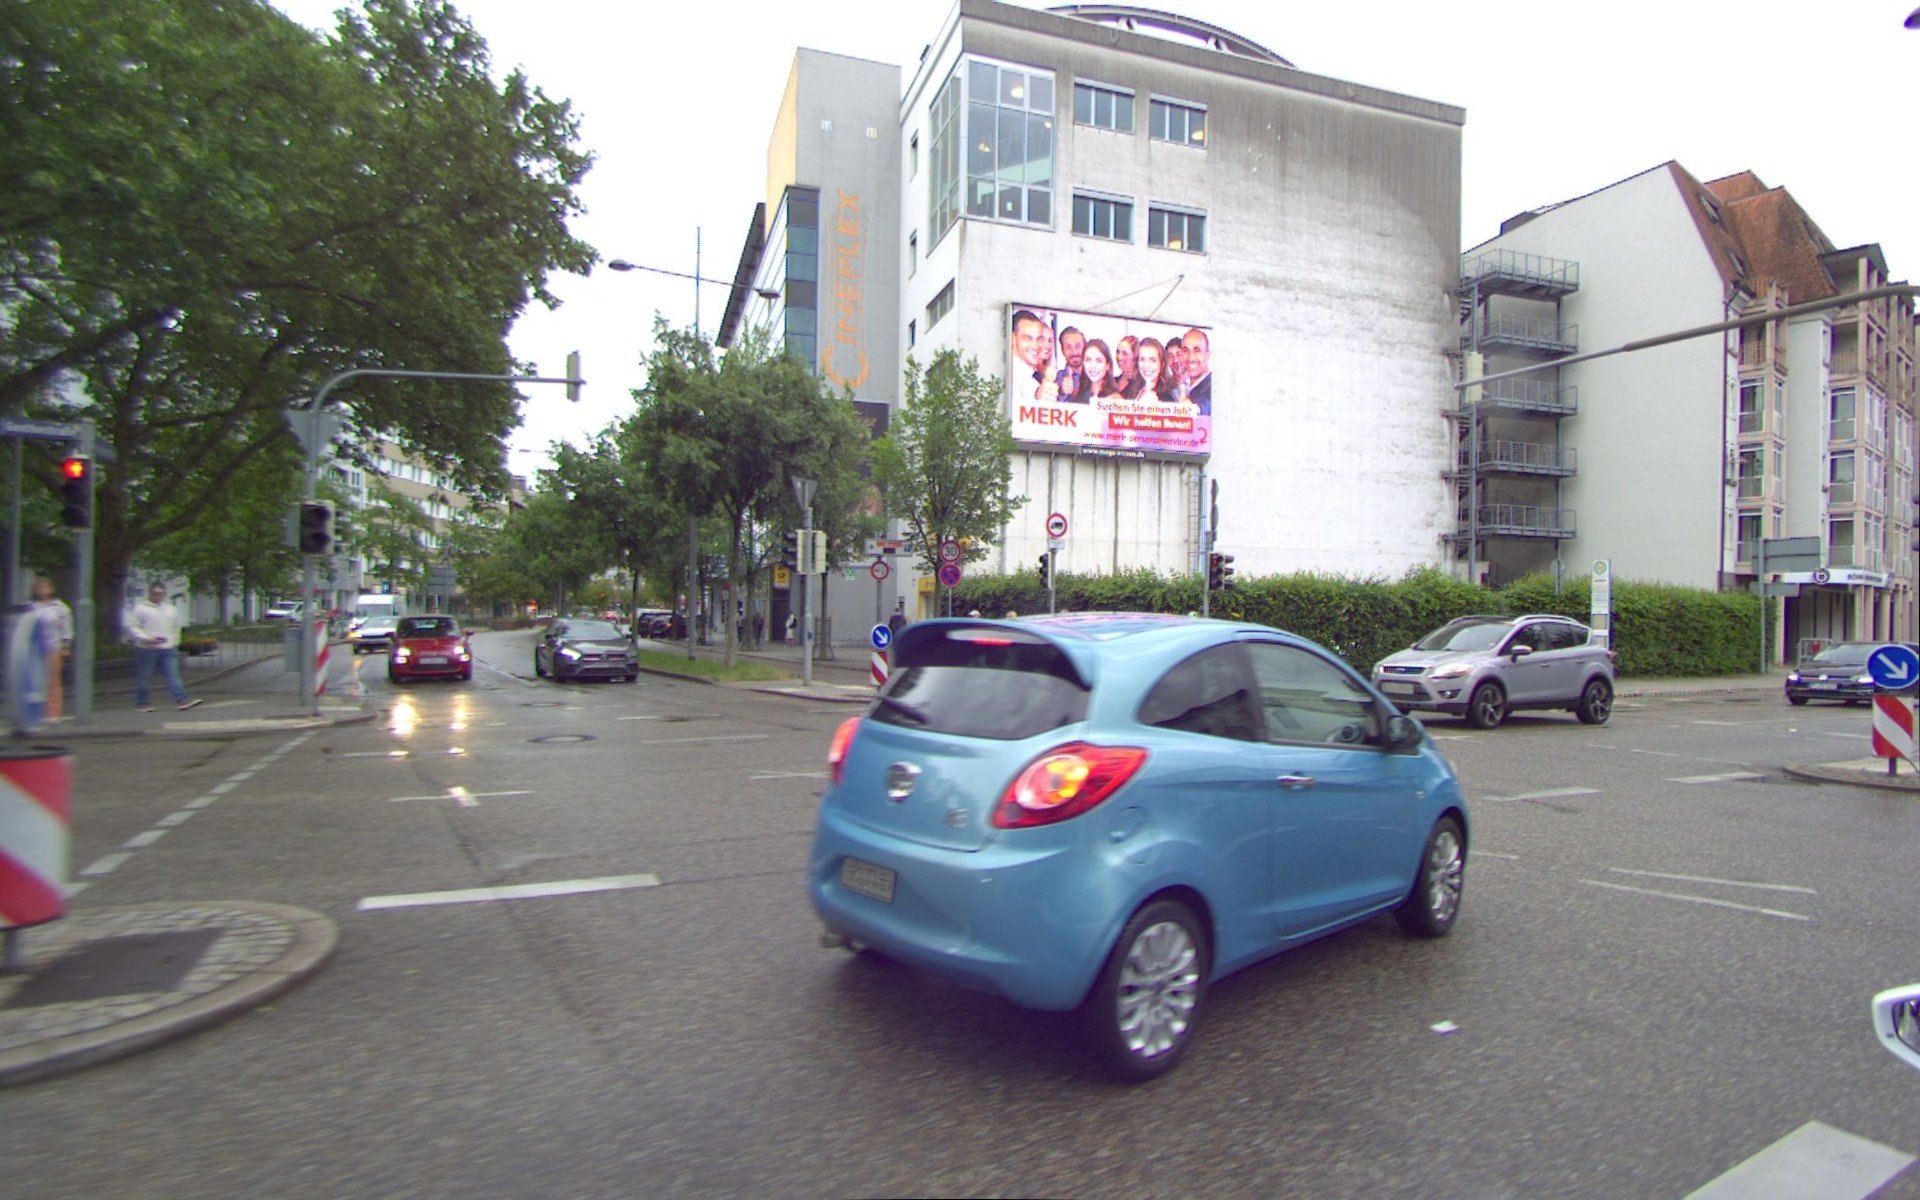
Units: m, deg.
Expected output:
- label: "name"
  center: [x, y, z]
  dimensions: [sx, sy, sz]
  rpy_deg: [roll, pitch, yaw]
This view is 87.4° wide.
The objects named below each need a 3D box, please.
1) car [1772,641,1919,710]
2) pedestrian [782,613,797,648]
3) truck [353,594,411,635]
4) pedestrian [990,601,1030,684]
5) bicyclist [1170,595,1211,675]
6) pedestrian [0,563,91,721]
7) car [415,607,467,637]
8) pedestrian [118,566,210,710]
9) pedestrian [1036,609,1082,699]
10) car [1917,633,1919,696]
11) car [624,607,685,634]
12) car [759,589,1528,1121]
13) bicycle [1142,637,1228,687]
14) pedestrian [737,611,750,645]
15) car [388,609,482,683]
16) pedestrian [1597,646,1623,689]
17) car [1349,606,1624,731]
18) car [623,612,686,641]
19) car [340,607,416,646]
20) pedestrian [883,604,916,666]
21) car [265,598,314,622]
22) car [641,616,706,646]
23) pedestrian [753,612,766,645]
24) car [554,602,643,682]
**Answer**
- label: "car"
  center: [20.589, 1.712, 22.966]
  dimensions: [4.047, 1.439, 1.750]
  rpy_deg: [3, -3, -29]
- label: "pedestrian"
  center: [-7.840, 1.395, 46.131]
  dimensions: [0.521, 1.621, 0.556]
  rpy_deg: [2, -1, -20]
- label: "truck"
  center: [-32.567, 0.815, 56.762]
  dimensions: [1.971, 2.183, 6.669]
  rpy_deg: [1, -1, -23]
- label: "pedestrian"
  center: [1.107, 0.942, 22.308]
  dimensions: [0.585, 1.788, 0.524]
  rpy_deg: [3, 2, -28]
- label: "bicyclist"
  center: [5.650, 0.840, 24.651]
  dimensions: [0.934, 1.915, 0.794]
  rpy_deg: [1, -1, 14]
- label: "pedestrian"
  center: [-11.170, 0.517, 12.253]
  dimensions: [0.669, 1.861, 0.444]
  rpy_deg: [5, -2, -31]
- label: "car"
  center: [-28.464, 1.202, 55.200]
  dimensions: [1.927, 1.576, 3.984]
  rpy_deg: [2, -1, -18]
- label: "pedestrian"
  center: [-11.160, 0.512, 14.084]
  dimensions: [0.848, 1.932, 0.823]
  rpy_deg: [2, 0, 40]
- label: "pedestrian"
  center: [2.040, 1.111, 20.726]
  dimensions: [0.586, 1.787, 0.643]
  rpy_deg: [5, -2, -31]
- label: "car"
  center: [29.104, 1.839, 28.640]
  dimensions: [4.216, 1.759, 1.816]
  rpy_deg: [2, -3, -35]
- label: "car"
  center: [-21.393, 1.443, 70.454]
  dimensions: [1.909, 1.684, 3.872]
  rpy_deg: [5, 0, 24]
- label: "car"
  center: [1.104, 0.789, 4.705]
  dimensions: [3.664, 1.493, 1.680]
  rpy_deg: [3, -2, -43]
- label: "bicycle"
  center: [5.531, 1.511, 24.686]
  dimensions: [2.016, 1.125, 0.653]
  rpy_deg: [1, -1, 14]
- label: "pedestrian"
  center: [-10.700, 1.380, 49.599]
  dimensions: [0.521, 1.621, 0.556]
  rpy_deg: [2, -1, -20]
- label: "car"
  center: [-12.534, 1.021, 23.857]
  dimensions: [1.683, 1.607, 3.965]
  rpy_deg: [1, -1, -32]
- label: "pedestrian"
  center: [18.121, 1.877, 28.012]
  dimensions: [0.496, 1.166, 0.465]
  rpy_deg: [1, 0, -35]
- label: "car"
  center: [8.447, 1.070, 16.064]
  dimensions: [4.256, 1.759, 1.821]
  rpy_deg: [2, -2, -28]
- label: "car"
  center: [-20.181, 1.736, 66.501]
  dimensions: [1.908, 1.684, 3.874]
  rpy_deg: [5, 0, 19]
- label: "car"
  center: [-23.356, 1.045, 40.442]
  dimensions: [1.834, 1.483, 3.984]
  rpy_deg: [1, -1, -18]
- label: "pedestrian"
  center: [-1.815, 1.070, 30.439]
  dimensions: [0.778, 1.804, 0.653]
  rpy_deg: [3, -2, 7]
- label: "car"
  center: [-54.960, 0.796, 82.392]
  dimensions: [1.883, 1.773, 3.803]
  rpy_deg: [5, 0, -10]
- label: "car"
  center: [-17.782, 1.935, 62.552]
  dimensions: [1.908, 1.684, 3.874]
  rpy_deg: [5, 0, 19]
- label: "pedestrian"
  center: [-9.974, 1.436, 50.031]
  dimensions: [0.521, 1.621, 0.556]
  rpy_deg: [2, -1, -20]
- label: "car"
  center: [-8.534, 0.944, 23.576]
  dimensions: [1.615, 1.718, 3.579]
  rpy_deg: [1, -1, -26]
